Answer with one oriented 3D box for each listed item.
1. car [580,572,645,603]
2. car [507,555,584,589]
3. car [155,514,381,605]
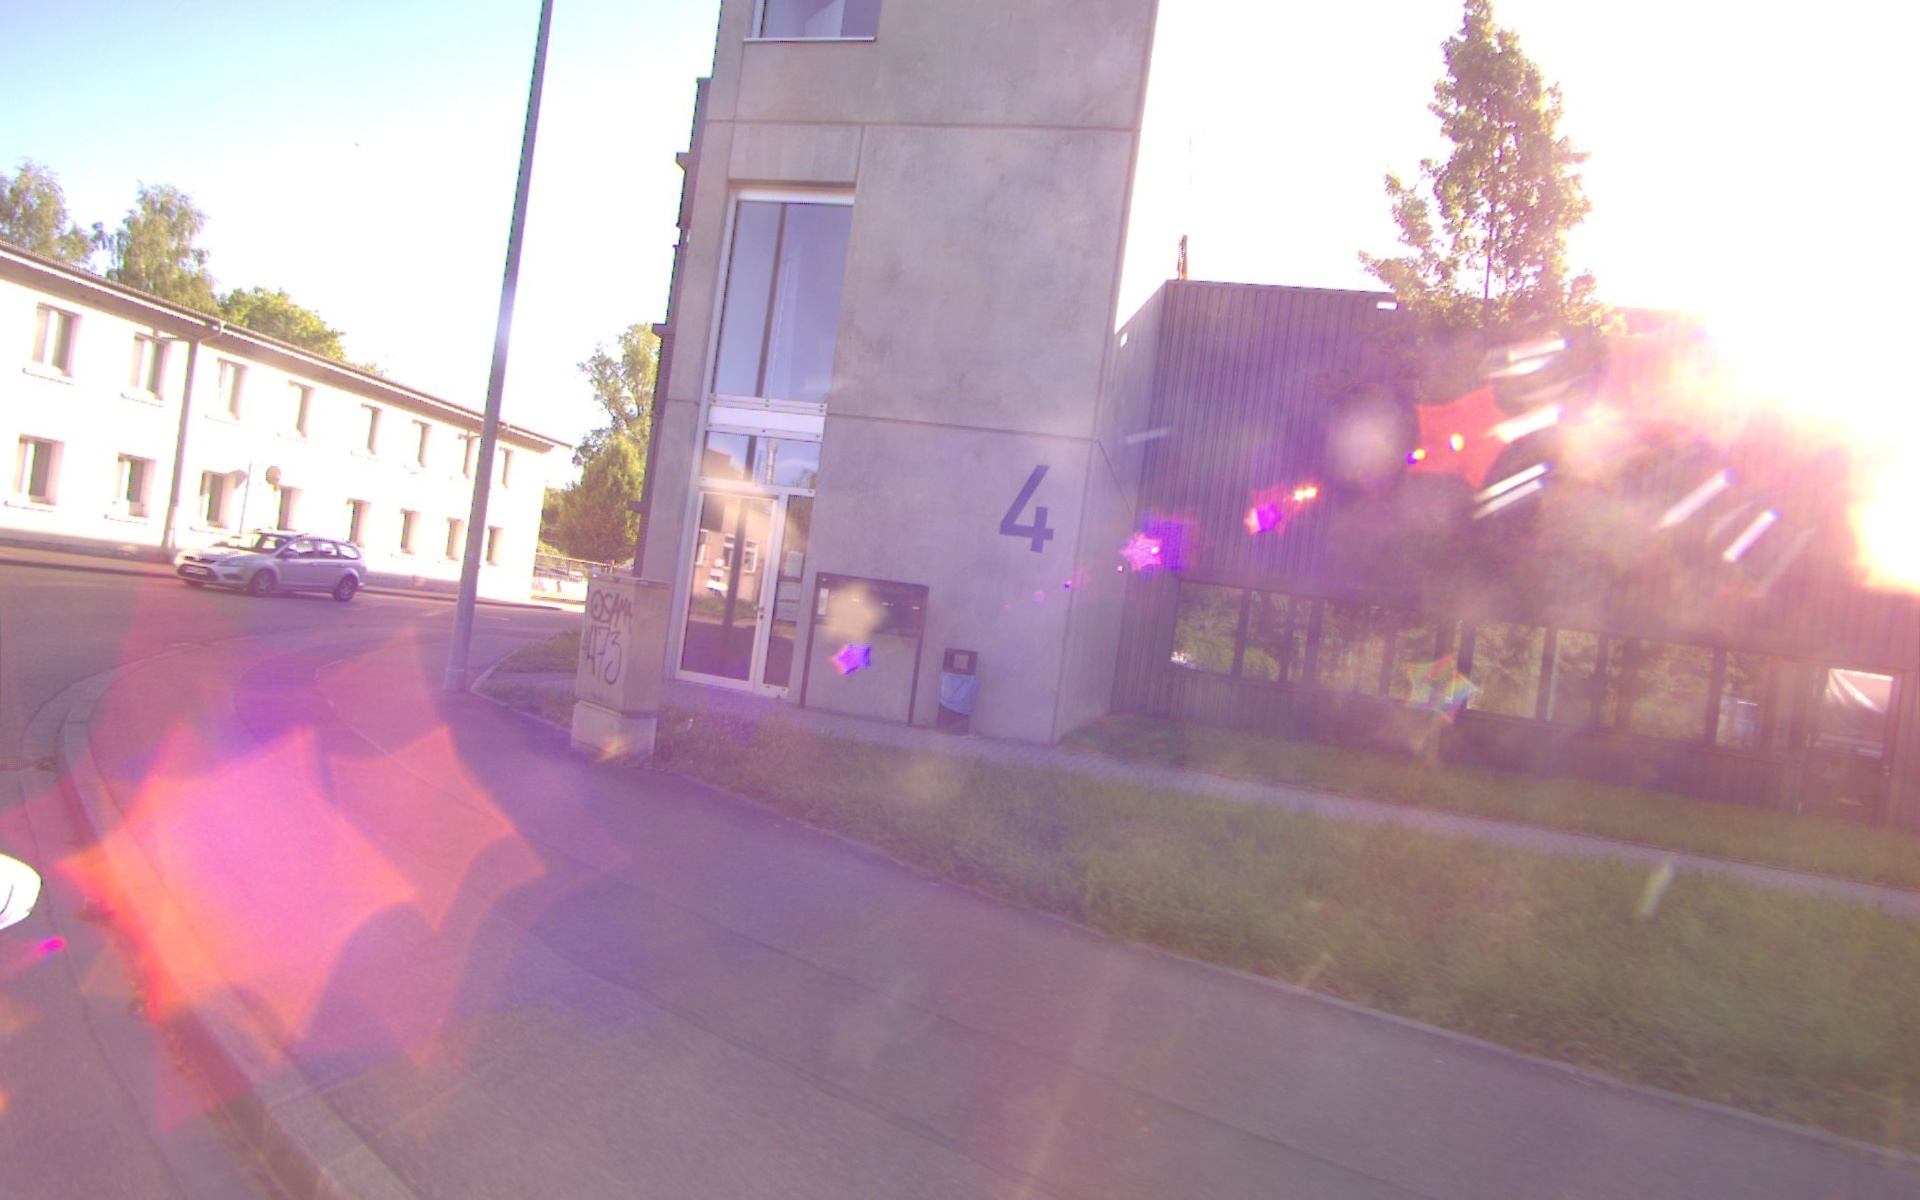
[{"bbox_3d":[-22.238,-0.776,64.626,1.962,1.468,4.003,8,-1,13],"label":"car"},{"bbox_3d":[-25.422,-1.728,61.739,3.924,1.559,1.877,6,-1,14],"label":"car"},{"bbox_3d":[-15.966,-0.859,23.556,1.712,1.522,4.507,8,-2,5],"label":"car"}]
